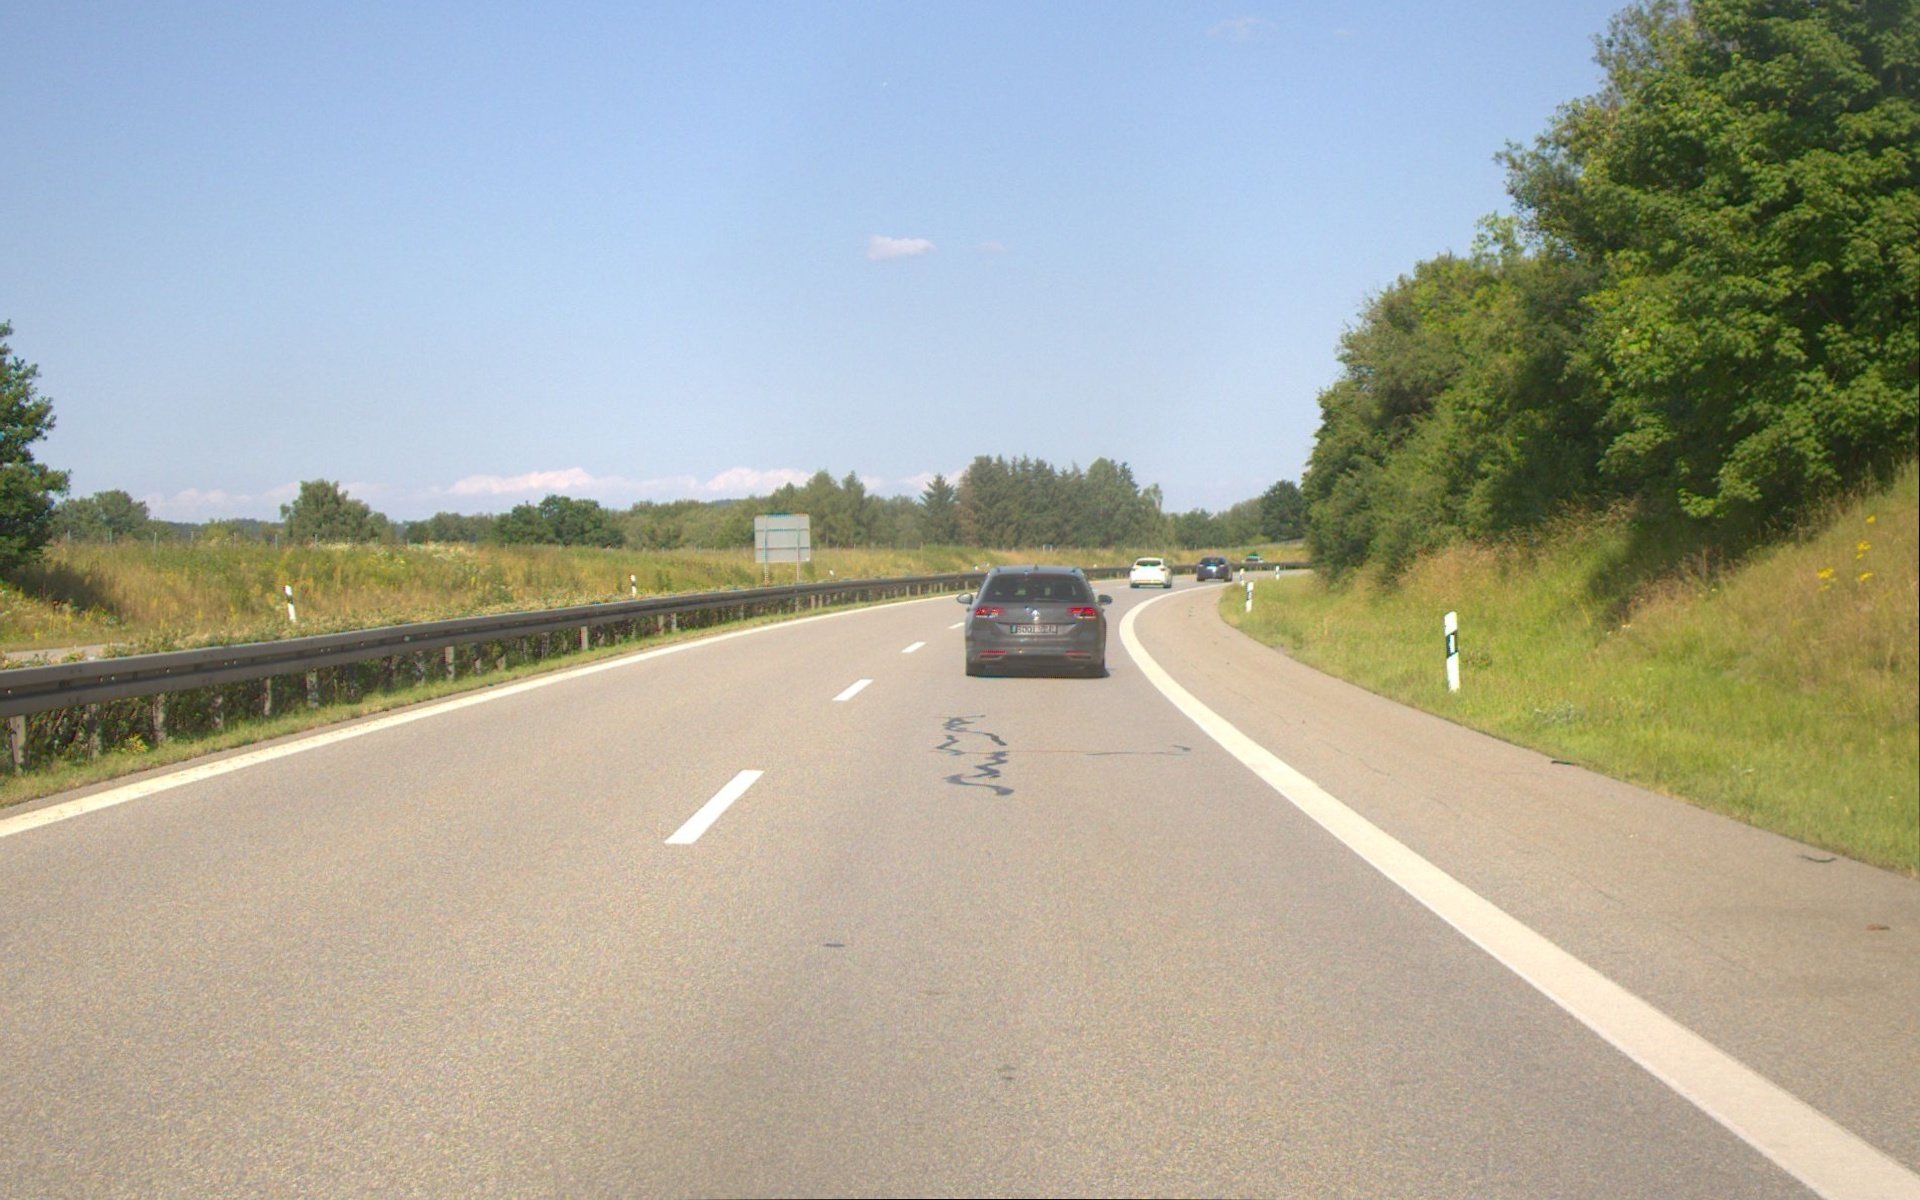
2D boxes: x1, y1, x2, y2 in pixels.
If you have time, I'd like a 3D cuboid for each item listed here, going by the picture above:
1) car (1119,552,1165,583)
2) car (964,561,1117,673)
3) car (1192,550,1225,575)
[{"bbox_3d":[8.544,-1.517,161.087,2.007,1.340,3.999,2,0,5],"label":"car"},{"bbox_3d":[0.991,0.191,44.419,1.791,1.340,4.000,1,1,-1],"label":"car"},{"bbox_3d":[14.421,-2.166,199.056,1.711,1.382,3.354,2,0,7],"label":"car"}]
